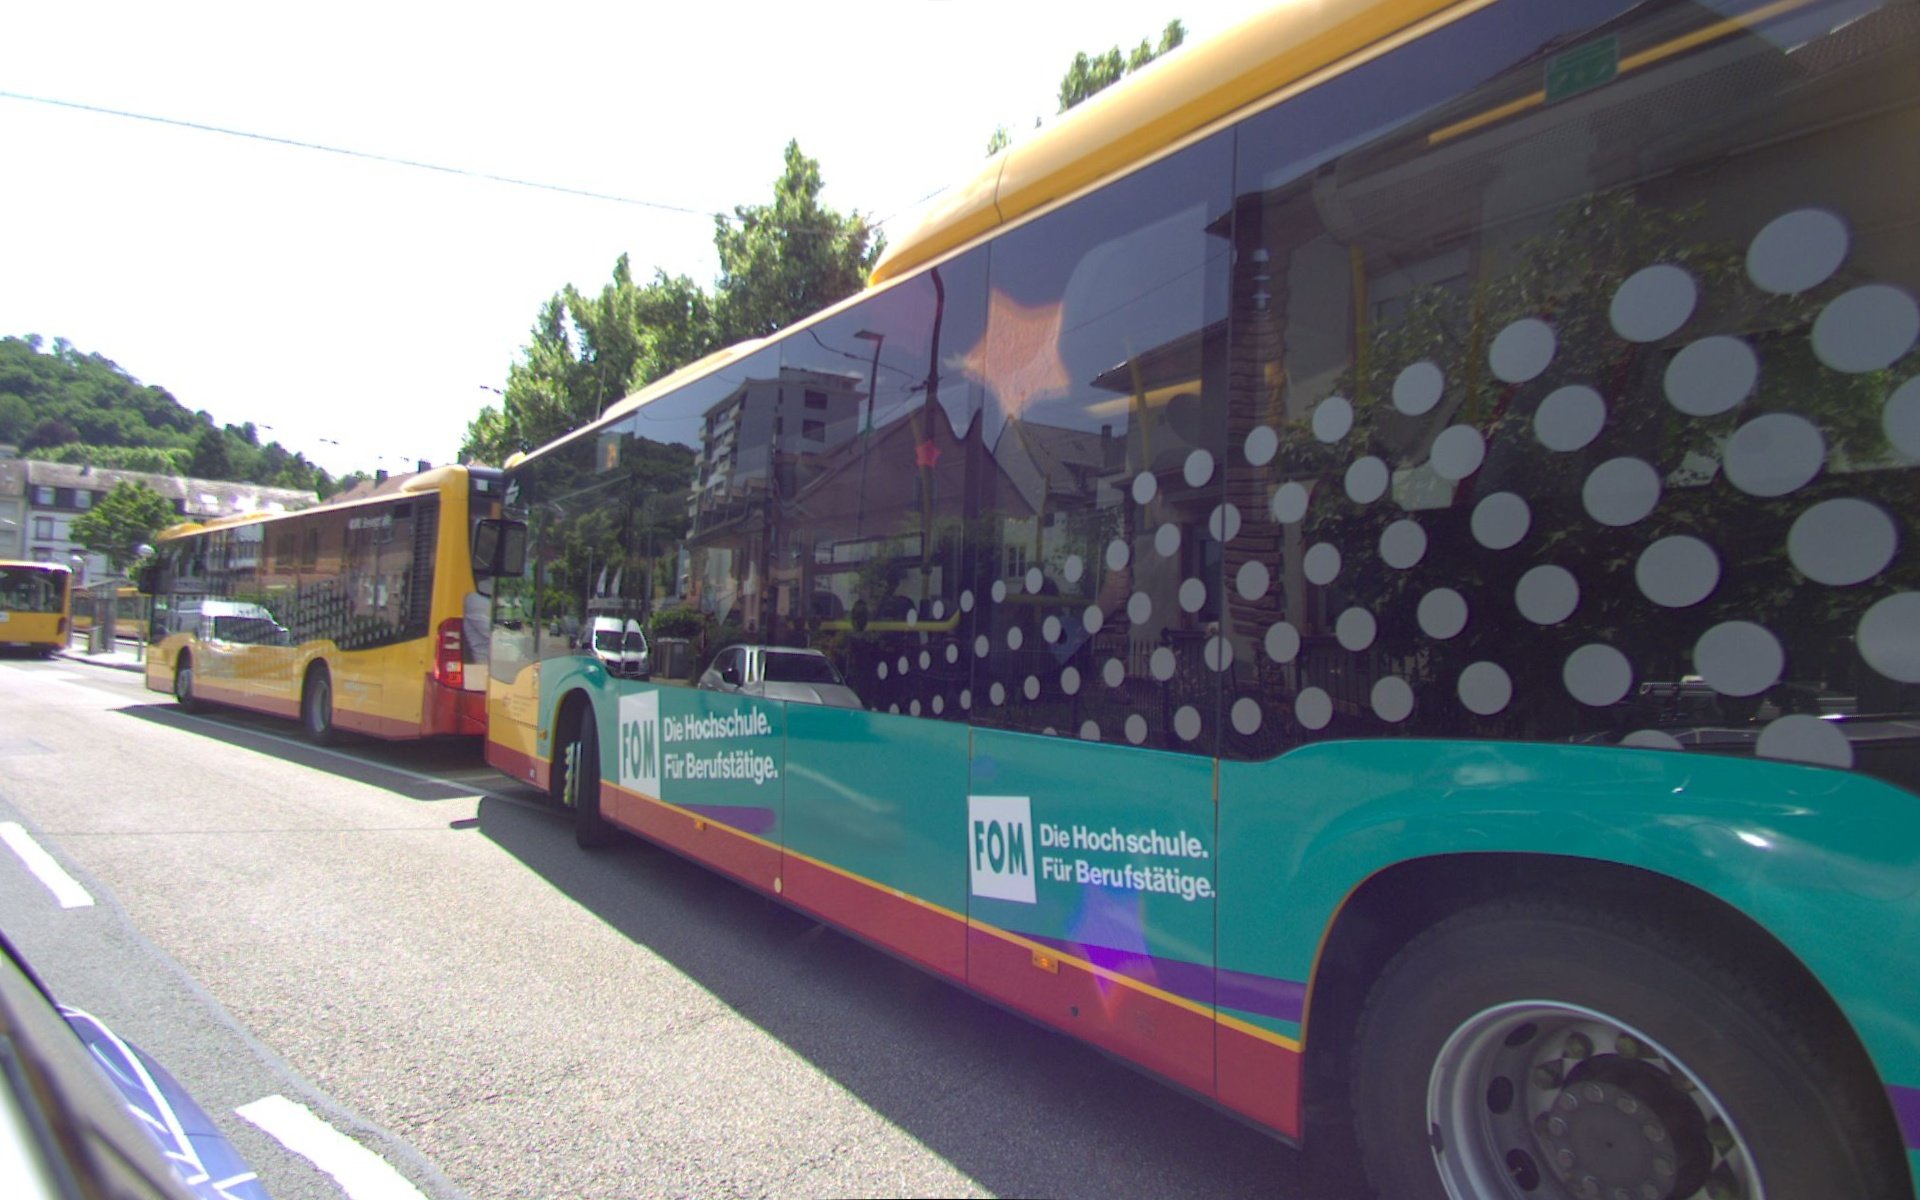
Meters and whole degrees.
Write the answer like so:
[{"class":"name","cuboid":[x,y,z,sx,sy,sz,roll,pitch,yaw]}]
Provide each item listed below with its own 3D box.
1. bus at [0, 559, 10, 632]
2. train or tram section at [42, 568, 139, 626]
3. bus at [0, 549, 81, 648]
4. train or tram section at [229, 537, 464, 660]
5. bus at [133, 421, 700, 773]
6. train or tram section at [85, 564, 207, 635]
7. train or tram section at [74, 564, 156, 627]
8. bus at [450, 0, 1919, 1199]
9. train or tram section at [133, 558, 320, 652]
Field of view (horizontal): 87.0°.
[{"class":"bus","cuboid":[-50.561,-0.229,50.746,12.031,3.453,2.878,0,-1,40]},{"class":"train or tram section","cuboid":[-57.596,-0.244,66.852,12.706,3.521,2.932,1,-1,41]},{"class":"bus","cuboid":[-35.836,-0.223,37.797,12.192,3.272,2.867,2,0,41]},{"class":"train or tram section","cuboid":[-22.165,-0.101,35.906,13.986,3.670,2.932,1,-1,41]},{"class":"bus","cuboid":[-8.551,-0.081,14.451,12.110,3.272,2.877,1,-1,40]},{"class":"train or tram section","cuboid":[-44.968,-0.066,55.695,12.650,3.521,2.932,1,-1,41]},{"class":"train or tram section","cuboid":[-51.252,-0.284,61.362,4.415,3.521,2.933,1,-3,41]},{"class":"bus","cuboid":[0.404,-0.206,4.858,2.743,3.233,12.331,2,-2,-38]},{"class":"train or tram section","cuboid":[-33.784,0.110,46.025,17.342,3.670,2.932,1,-1,41]}]
